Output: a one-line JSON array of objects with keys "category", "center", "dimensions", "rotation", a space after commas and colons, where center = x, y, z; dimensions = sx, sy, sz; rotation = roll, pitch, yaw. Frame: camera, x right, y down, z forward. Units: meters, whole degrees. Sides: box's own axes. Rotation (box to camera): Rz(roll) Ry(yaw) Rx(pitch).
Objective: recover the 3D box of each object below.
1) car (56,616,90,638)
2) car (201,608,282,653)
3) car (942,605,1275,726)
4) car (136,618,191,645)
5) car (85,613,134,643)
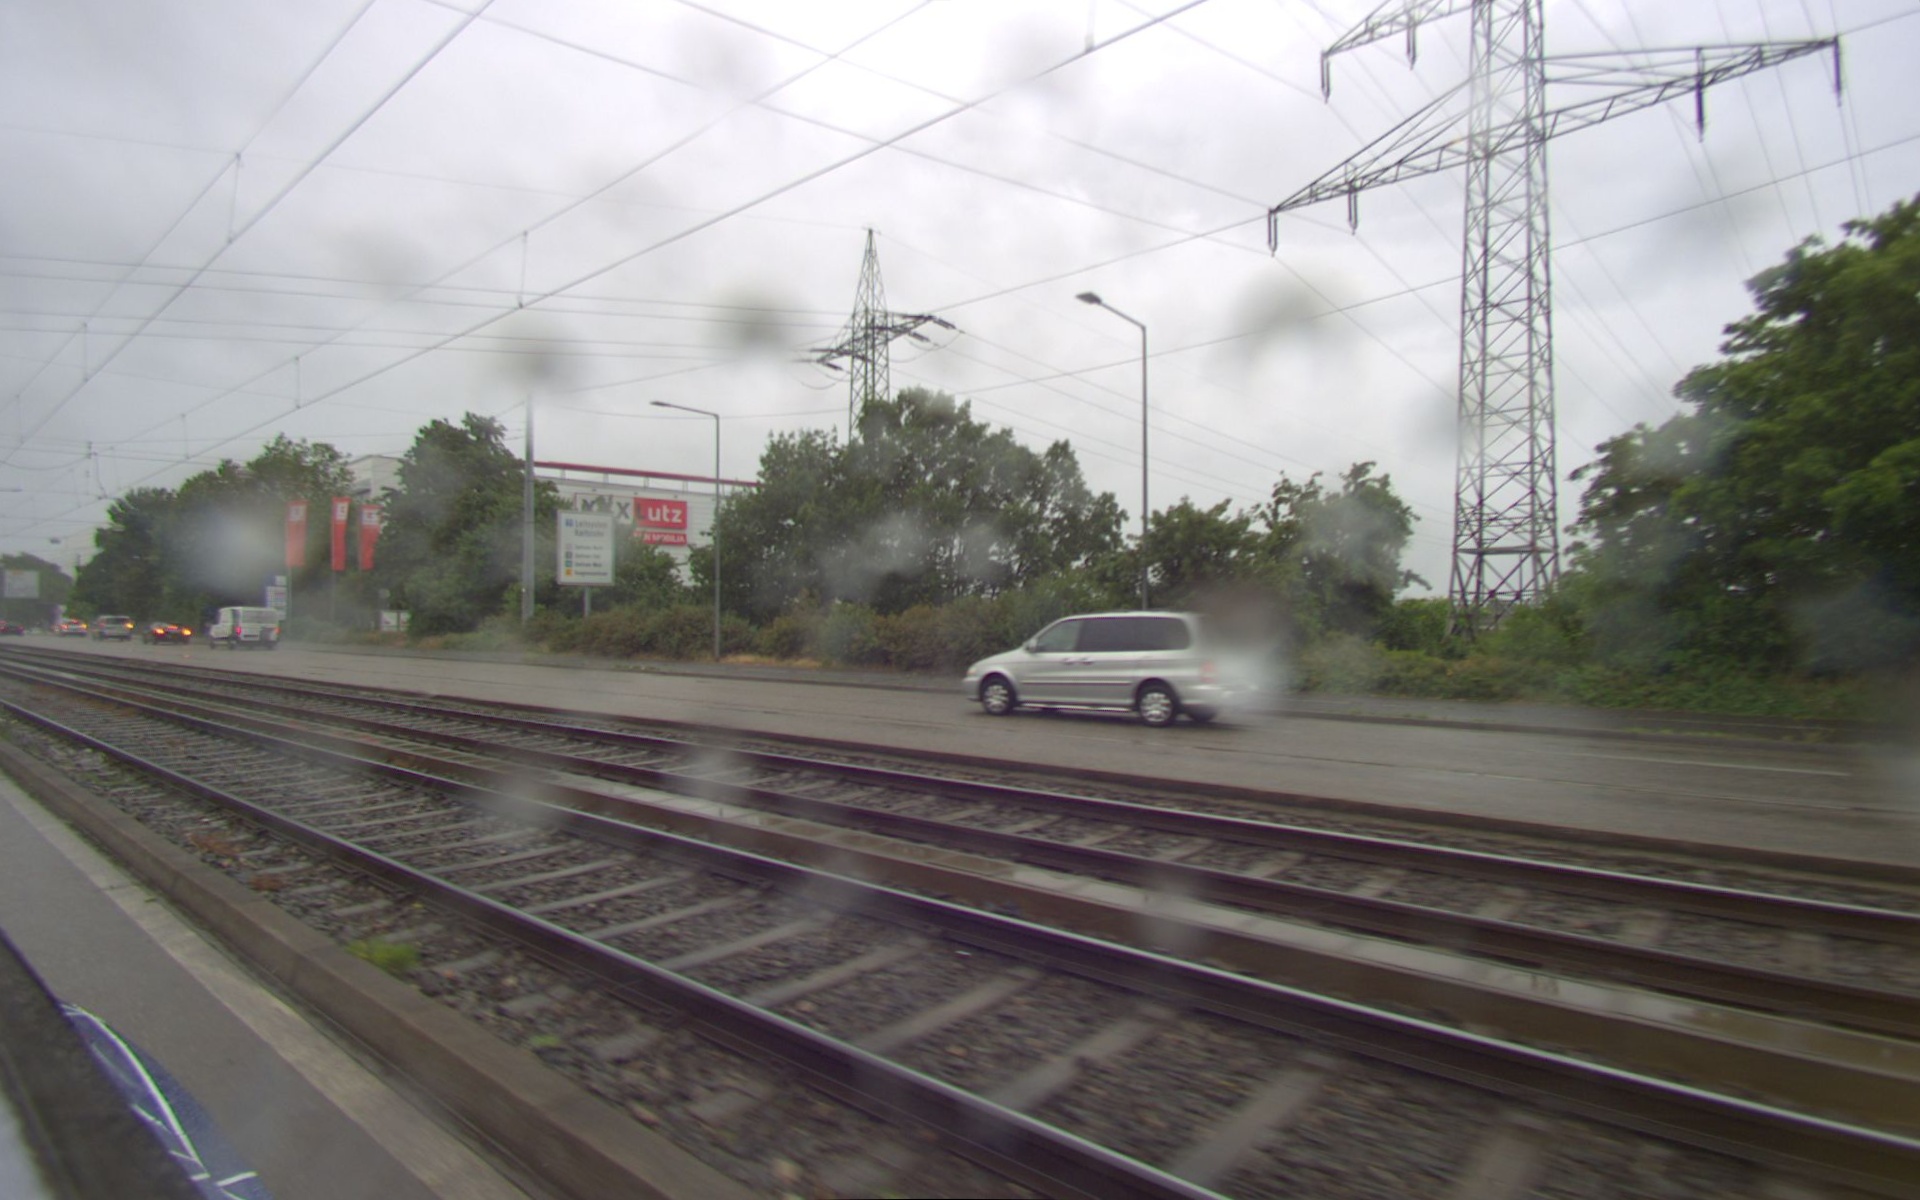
[{"category": "car", "center": [-82.871, 2.531, 94.519], "dimensions": [3.997, 1.929, 1.844], "rotation": [-2, -1, 41]}, {"category": "car", "center": [-39.582, 1.714, 55.685], "dimensions": [5.979, 2.316, 2.128], "rotation": [-2, -5, 41]}, {"category": "car", "center": [2.232, 0.980, 16.363], "dimensions": [5.133, 1.647, 1.806], "rotation": [-2, -1, 41]}, {"category": "car", "center": [-51.383, 2.058, 65.277], "dimensions": [4.727, 1.653, 1.877], "rotation": [-2, -1, 40]}, {"category": "car", "center": [-64.651, 2.127, 76.875], "dimensions": [4.727, 2.116, 2.068], "rotation": [-2, -1, 40]}]
